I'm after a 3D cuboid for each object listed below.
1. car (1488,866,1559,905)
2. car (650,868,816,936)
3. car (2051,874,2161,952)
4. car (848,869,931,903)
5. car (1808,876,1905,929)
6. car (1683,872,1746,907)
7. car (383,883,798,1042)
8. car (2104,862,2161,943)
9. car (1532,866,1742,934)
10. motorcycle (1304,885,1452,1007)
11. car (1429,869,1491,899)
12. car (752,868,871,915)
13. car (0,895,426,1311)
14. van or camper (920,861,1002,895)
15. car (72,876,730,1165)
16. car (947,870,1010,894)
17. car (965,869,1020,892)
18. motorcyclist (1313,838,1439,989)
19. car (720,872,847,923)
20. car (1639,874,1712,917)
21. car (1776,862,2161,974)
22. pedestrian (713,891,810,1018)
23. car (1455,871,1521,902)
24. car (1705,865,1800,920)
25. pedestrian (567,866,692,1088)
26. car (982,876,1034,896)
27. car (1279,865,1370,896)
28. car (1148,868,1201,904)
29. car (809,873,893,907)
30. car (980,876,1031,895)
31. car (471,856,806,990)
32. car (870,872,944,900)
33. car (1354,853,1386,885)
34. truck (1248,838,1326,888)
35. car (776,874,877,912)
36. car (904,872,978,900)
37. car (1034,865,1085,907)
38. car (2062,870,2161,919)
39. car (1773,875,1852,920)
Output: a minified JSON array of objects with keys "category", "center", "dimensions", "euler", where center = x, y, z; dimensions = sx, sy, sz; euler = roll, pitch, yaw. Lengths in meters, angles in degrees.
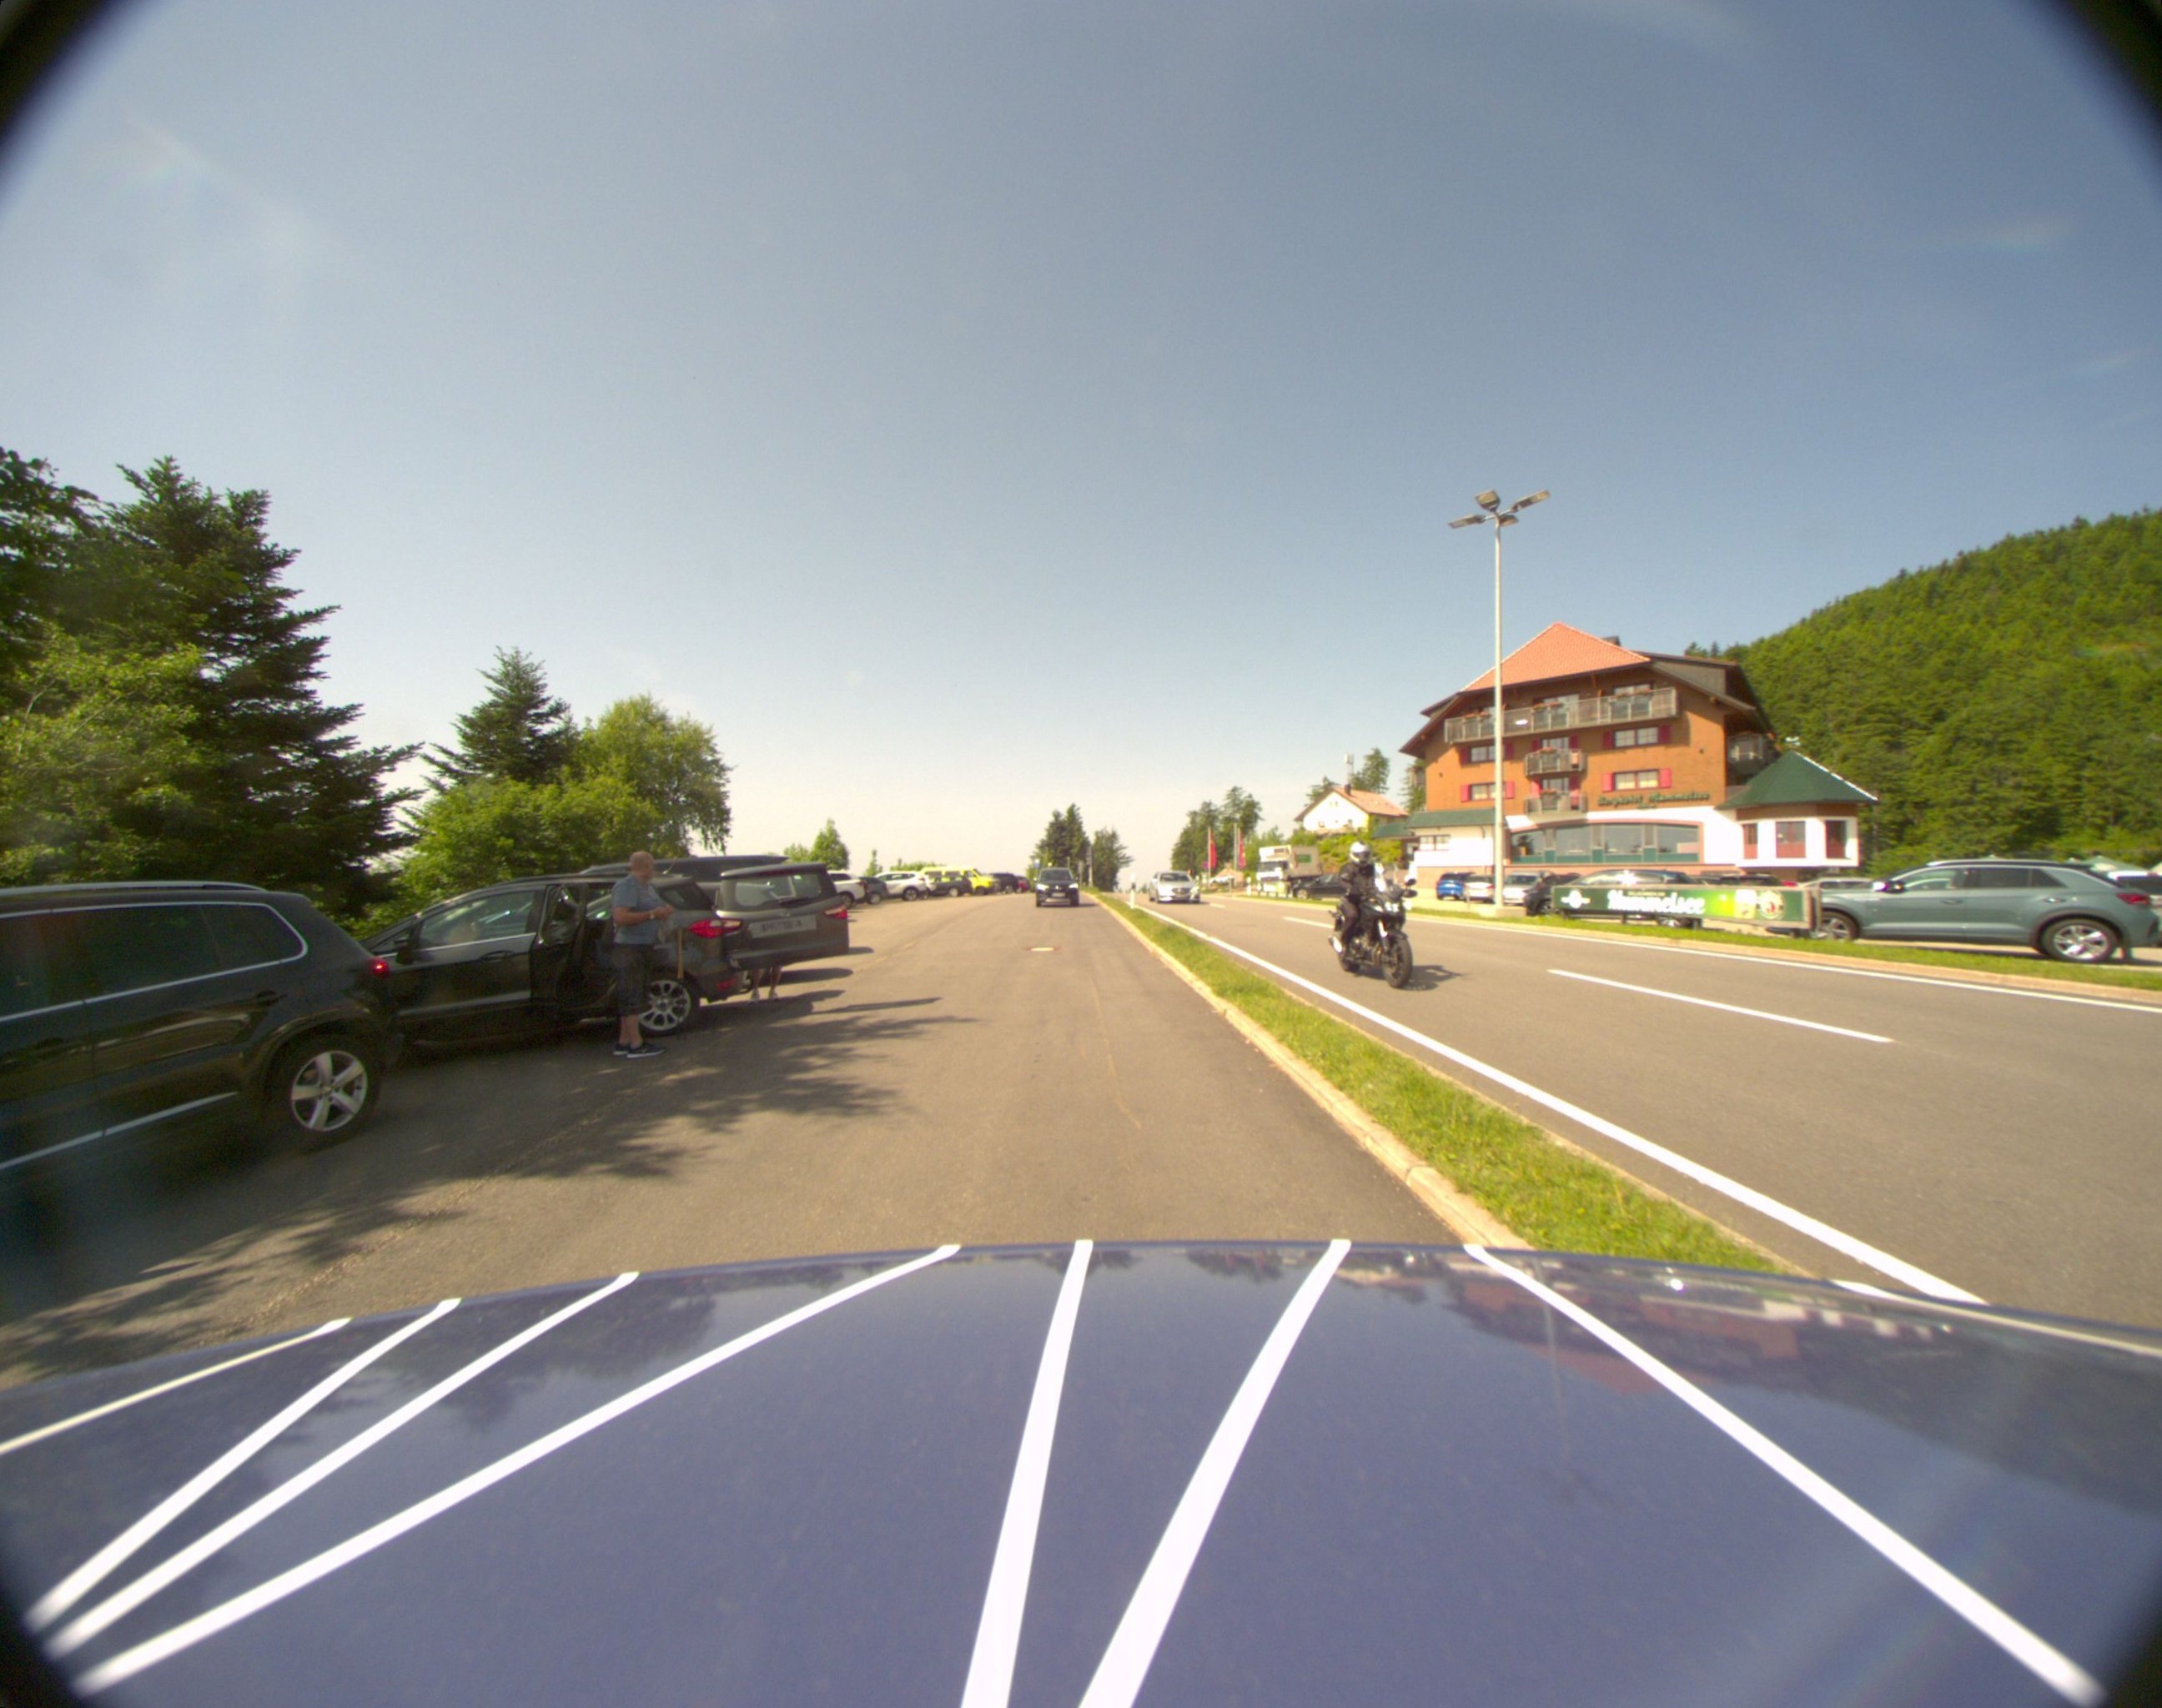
[{"category":"car","center":[22.098,1.584,37.881],"dimensions":[4.541,1.852,1.830],"euler":[3,-3,-43]},{"category":"car","center":[-10.347,1.356,22.714],"dimensions":[4.279,1.684,1.987],"euler":[-2,-1,-27]},{"category":"car","center":[22.715,1.235,16.300],"dimensions":[4.010,1.535,1.894],"euler":[3,-3,-44]},{"category":"car","center":[-10.497,1.733,41.681],"dimensions":[4.189,1.640,1.889],"euler":[-2,-1,-20]},{"category":"car","center":[21.958,1.334,21.617],"dimensions":[1.807,1.362,4.010],"euler":[-1,-3,44]},{"category":"car","center":[27.220,1.512,32.581],"dimensions":[1.929,1.409,4.010],"euler":[0,-2,42]},{"category":"car","center":[-5.850,1.188,9.616],"dimensions":[4.005,1.434,1.836],"euler":[-2,-1,-28]},{"category":"car","center":[27.267,1.198,18.530],"dimensions":[1.994,1.892,4.010],"euler":[0,-2,42]},{"category":"car","center":[13.970,1.098,19.277],"dimensions":[1.787,1.542,3.989],"euler":[2,-2,-40]},{"category":"motorcycle","center":[3.619,1.063,9.531],"dimensions":[0.878,1.249,2.277],"euler":[-2,0,-2]},{"category":"car","center":[22.009,1.684,44.014],"dimensions":[1.934,1.653,4.556],"euler":[-1,-2,44]},{"category":"car","center":[-11.110,1.504,31.468],"dimensions":[4.235,1.684,1.859],"euler":[-1,-1,-38]},{"category":"car","center":[-5.421,1.158,3.076],"dimensions":[1.748,1.622,4.308],"euler":[-4,0,-1]},{"category":"van or camper","center":[-8.055,1.644,51.177],"dimensions":[5.101,2.001,1.883],"euler":[-3,-2,4]},{"category":"car","center":[-5.599,1.212,7.082],"dimensions":[4.004,1.652,1.996],"euler":[-5,1,-28]},{"category":"car","center":[-7.296,1.982,54.277],"dimensions":[4.160,1.579,1.706],"euler":[-1,-2,2]},{"category":"car","center":[-6.634,1.997,57.027],"dimensions":[3.999,1.603,1.916],"euler":[-1,-2,-6]},{"category":"motorcyclist","center":[3.604,0.688,9.448],"dimensions":[0.925,1.707,1.452],"euler":[-2,0,-2]},{"category":"car","center":[-10.901,1.552,27.919],"dimensions":[4.006,1.539,1.816],"euler":[-2,-1,-34]},{"category":"car","center":[22.365,1.546,28.516],"dimensions":[1.711,1.477,4.089],"euler":[-1,-3,44]},{"category":"car","center":[14.271,0.933,12.544],"dimensions":[1.744,1.558,4.048],"euler":[1,-1,-45]},{"category":"pedestrian","center":[-3.684,1.133,8.812],"dimensions":[0.775,1.394,0.669],"euler":[1,-2,6]},{"category":"car","center":[21.853,1.737,40.708],"dimensions":[4.010,1.536,1.994],"euler":[3,-3,-44]},{"category":"car","center":[22.404,1.266,25.294],"dimensions":[4.009,1.693,1.821],"euler":[3,-3,-40]},{"category":"pedestrian","center":[-3.844,0.999,6.482],"dimensions":[0.579,1.750,0.634],"euler":[-3,1,34]},{"category":"car","center":[-6.340,2.770,66.043],"dimensions":[4.410,1.558,1.907],"euler":[-2,-2,-7]},{"category":"car","center":[12.729,1.366,39.828],"dimensions":[4.180,1.530,1.812],"euler":[-1,-3,44]},{"category":"car","center":[4.112,1.418,33.941],"dimensions":[1.781,1.448,4.001],"euler":[1,-2,-1]},{"category":"car","center":[-11.491,1.792,37.970],"dimensions":[3.810,1.450,1.660],"euler":[-2,-1,-23]},{"category":"car","center":[-6.160,2.586,62.149],"dimensions":[4.000,1.500,1.841],"euler":[-1,-2,-10]},{"category":"car","center":[-7.457,1.100,13.459],"dimensions":[4.777,1.868,1.963],"euler":[-2,0,-20]},{"category":"car","center":[-10.202,1.839,44.685],"dimensions":[4.100,1.491,1.942],"euler":[-1,-1,-13]},{"category":"car","center":[23.317,1.281,61.415],"dimensions":[1.996,2.480,4.006],"euler":[0,-2,16]},{"category":"truck","center":[17.942,0.754,65.733],"dimensions":[3.062,3.948,8.790],"euler":[-4,-2,39]},{"category":"car","center":[-11.665,1.757,34.871],"dimensions":[4.057,1.452,1.891],"euler":[-2,-1,-29]},{"category":"car","center":[-8.863,2.028,48.259],"dimensions":[4.362,1.478,1.813],"euler":[-3,-2,-2]},{"category":"car","center":[-0.819,1.312,31.727],"dimensions":[1.985,1.607,4.151],"euler":[0,-2,0]},{"category":"car","center":[35.140,1.357,25.590],"dimensions":[1.905,1.520,3.891],"euler":[-1,-3,42]},{"category":"car","center":[27.472,1.623,28.652],"dimensions":[1.994,1.542,4.010],"euler":[0,-2,42]}]
